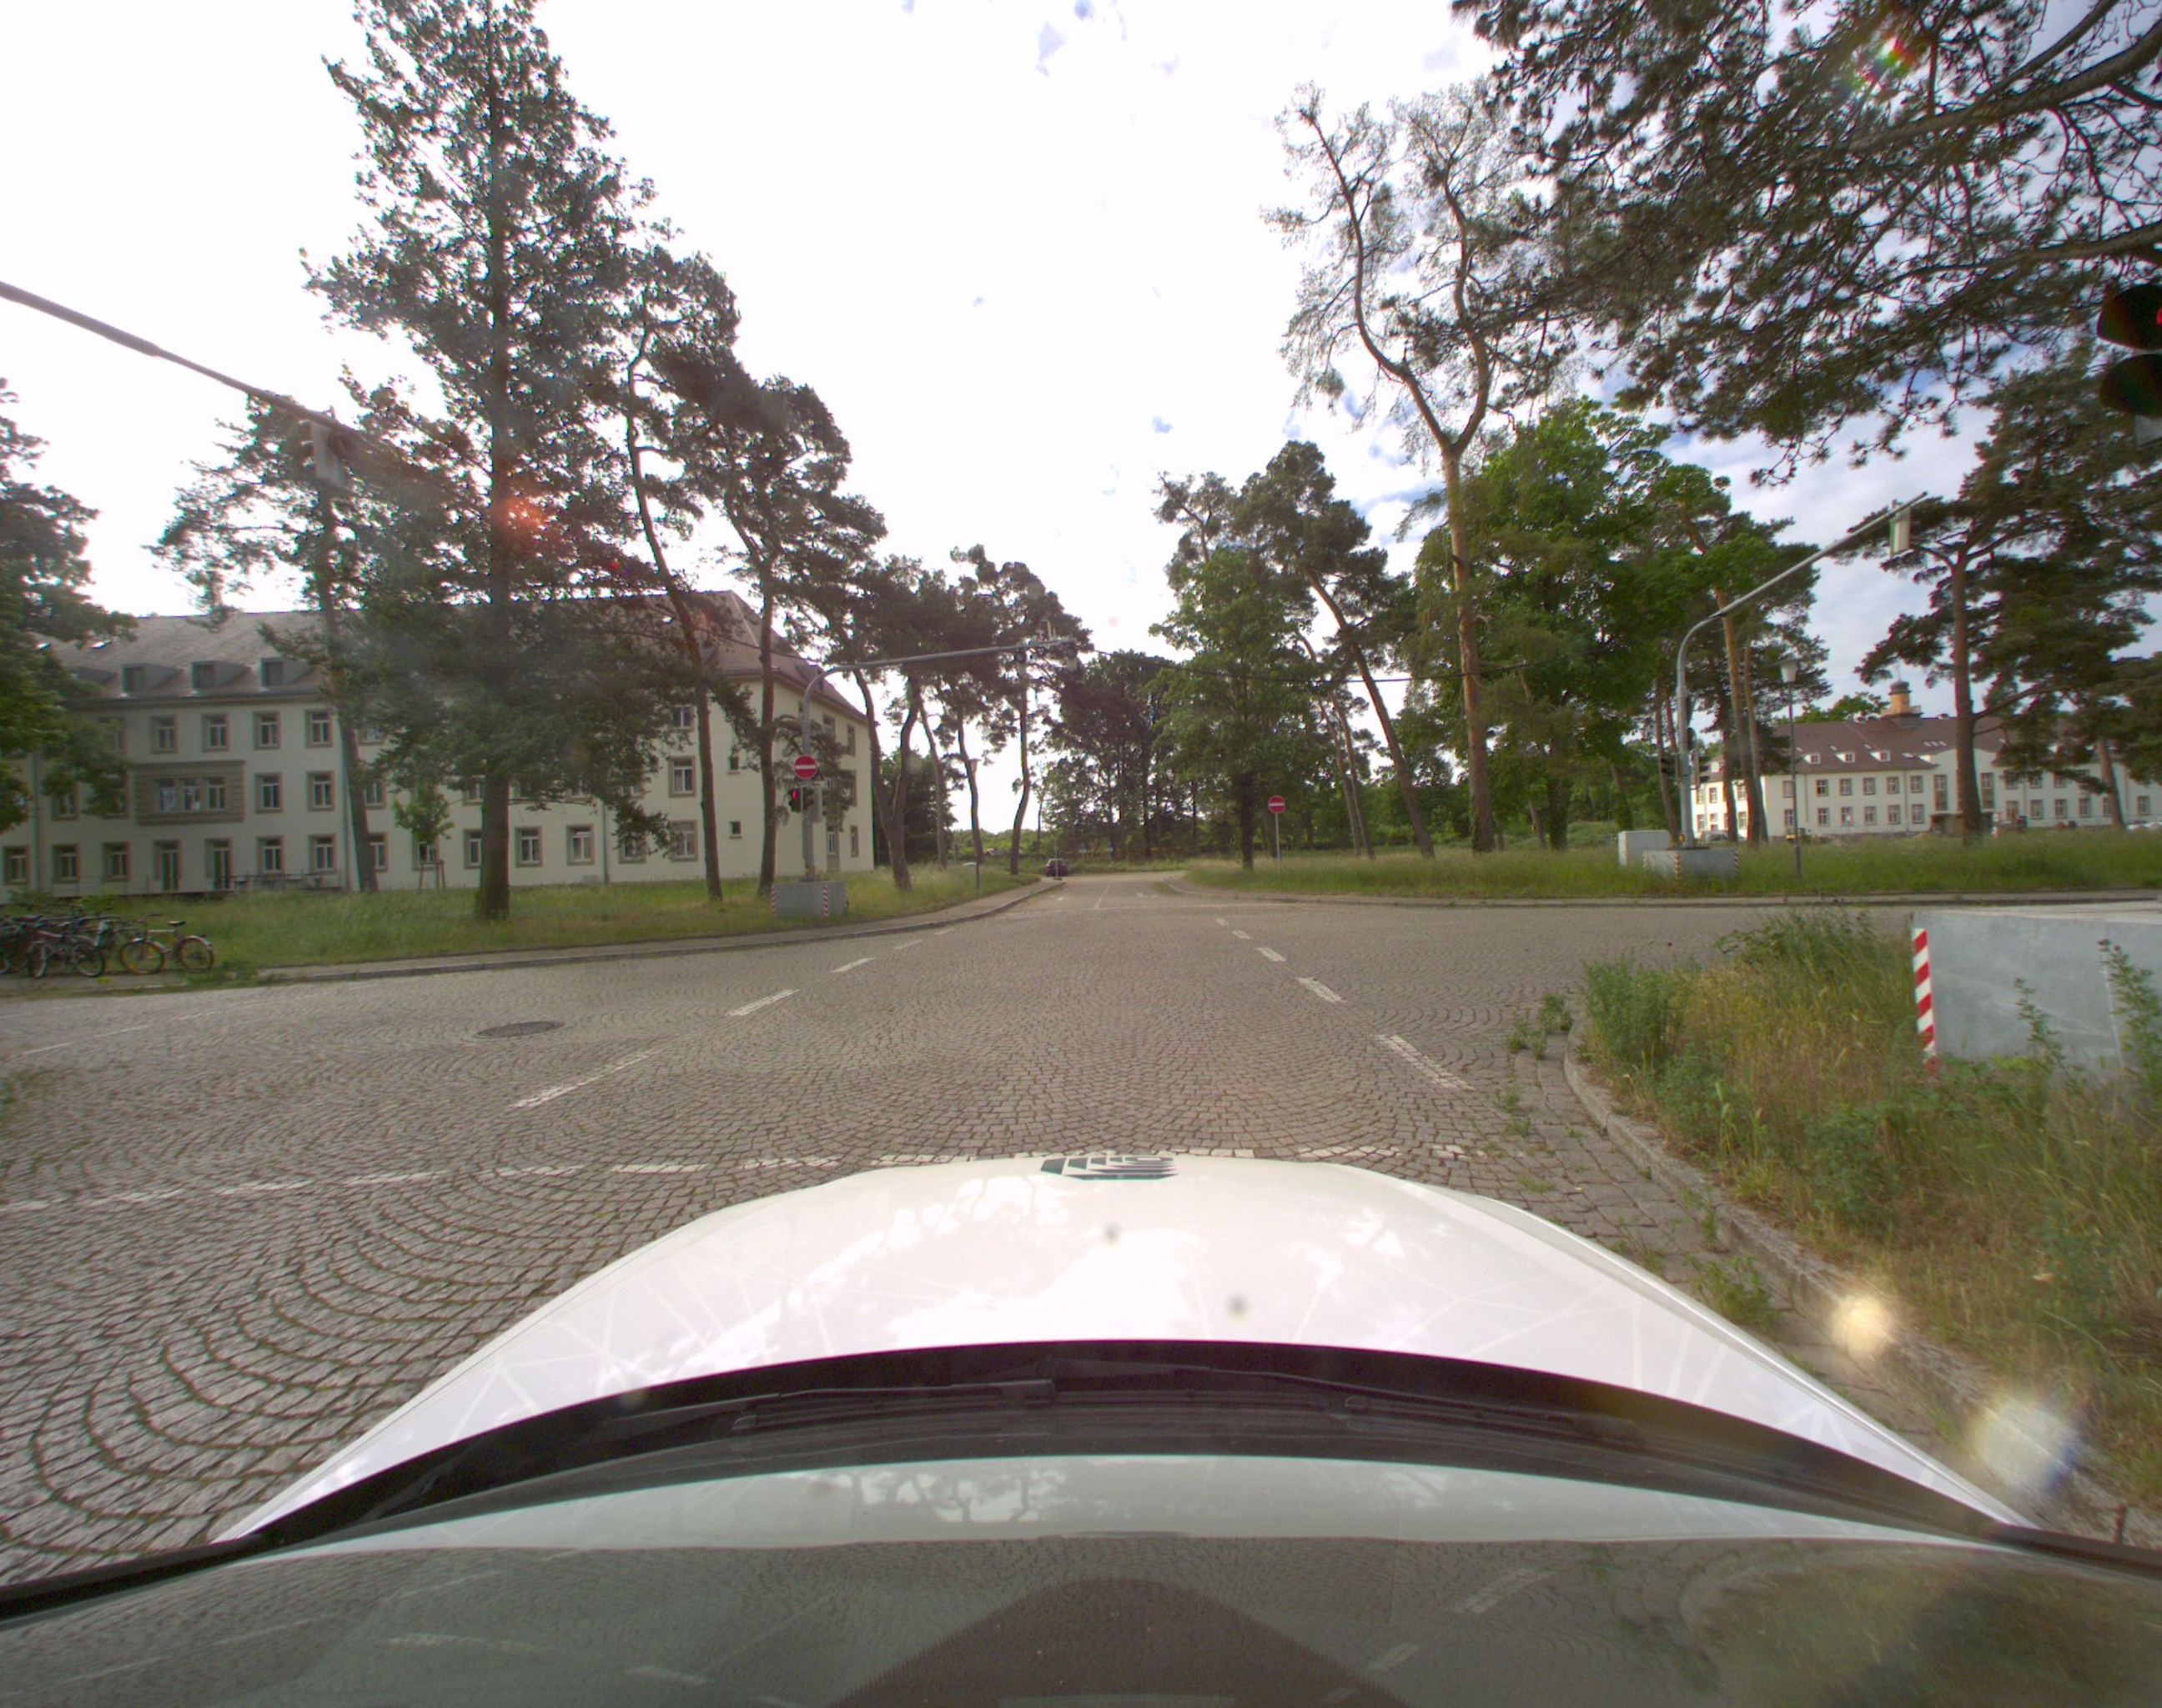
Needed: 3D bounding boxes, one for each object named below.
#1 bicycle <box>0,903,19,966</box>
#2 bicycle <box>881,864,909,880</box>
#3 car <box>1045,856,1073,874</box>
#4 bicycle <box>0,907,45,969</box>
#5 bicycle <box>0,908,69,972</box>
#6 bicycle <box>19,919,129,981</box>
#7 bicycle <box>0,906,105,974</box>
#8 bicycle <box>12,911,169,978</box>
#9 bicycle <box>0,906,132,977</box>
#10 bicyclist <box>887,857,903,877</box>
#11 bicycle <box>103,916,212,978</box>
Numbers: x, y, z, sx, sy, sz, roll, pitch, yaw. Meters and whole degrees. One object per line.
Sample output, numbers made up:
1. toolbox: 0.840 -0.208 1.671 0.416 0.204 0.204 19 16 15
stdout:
1. bicycle: -22.395 1.663 16.120 0.447 1.283 1.696 -2 0 2
2. bicycle: -14.755 1.426 64.534 1.980 1.095 0.810 -2 0 -1
3. car: -1.891 0.929 71.270 1.984 1.508 4.005 0 0 4
4. bicycle: -21.686 1.703 15.989 0.447 1.178 1.696 -2 0 2
5. bicycle: -21.200 1.708 15.992 0.447 1.178 1.696 -2 0 2
6. bicycle: -17.944 1.702 14.519 1.453 0.996 0.453 -2 0 3
7. bicycle: -20.686 1.688 16.031 0.525 1.178 1.931 -2 0 2
8. bicycle: -19.406 1.733 16.035 0.572 1.078 1.997 -2 0 2
9. bicycle: -20.104 1.679 15.982 0.572 1.178 1.955 -2 0 2
10. bicyclist: -14.733 1.014 64.538 0.971 1.510 0.807 -2 0 -1
11. bicycle: -16.420 1.642 14.487 1.453 0.996 0.453 -2 0 3
